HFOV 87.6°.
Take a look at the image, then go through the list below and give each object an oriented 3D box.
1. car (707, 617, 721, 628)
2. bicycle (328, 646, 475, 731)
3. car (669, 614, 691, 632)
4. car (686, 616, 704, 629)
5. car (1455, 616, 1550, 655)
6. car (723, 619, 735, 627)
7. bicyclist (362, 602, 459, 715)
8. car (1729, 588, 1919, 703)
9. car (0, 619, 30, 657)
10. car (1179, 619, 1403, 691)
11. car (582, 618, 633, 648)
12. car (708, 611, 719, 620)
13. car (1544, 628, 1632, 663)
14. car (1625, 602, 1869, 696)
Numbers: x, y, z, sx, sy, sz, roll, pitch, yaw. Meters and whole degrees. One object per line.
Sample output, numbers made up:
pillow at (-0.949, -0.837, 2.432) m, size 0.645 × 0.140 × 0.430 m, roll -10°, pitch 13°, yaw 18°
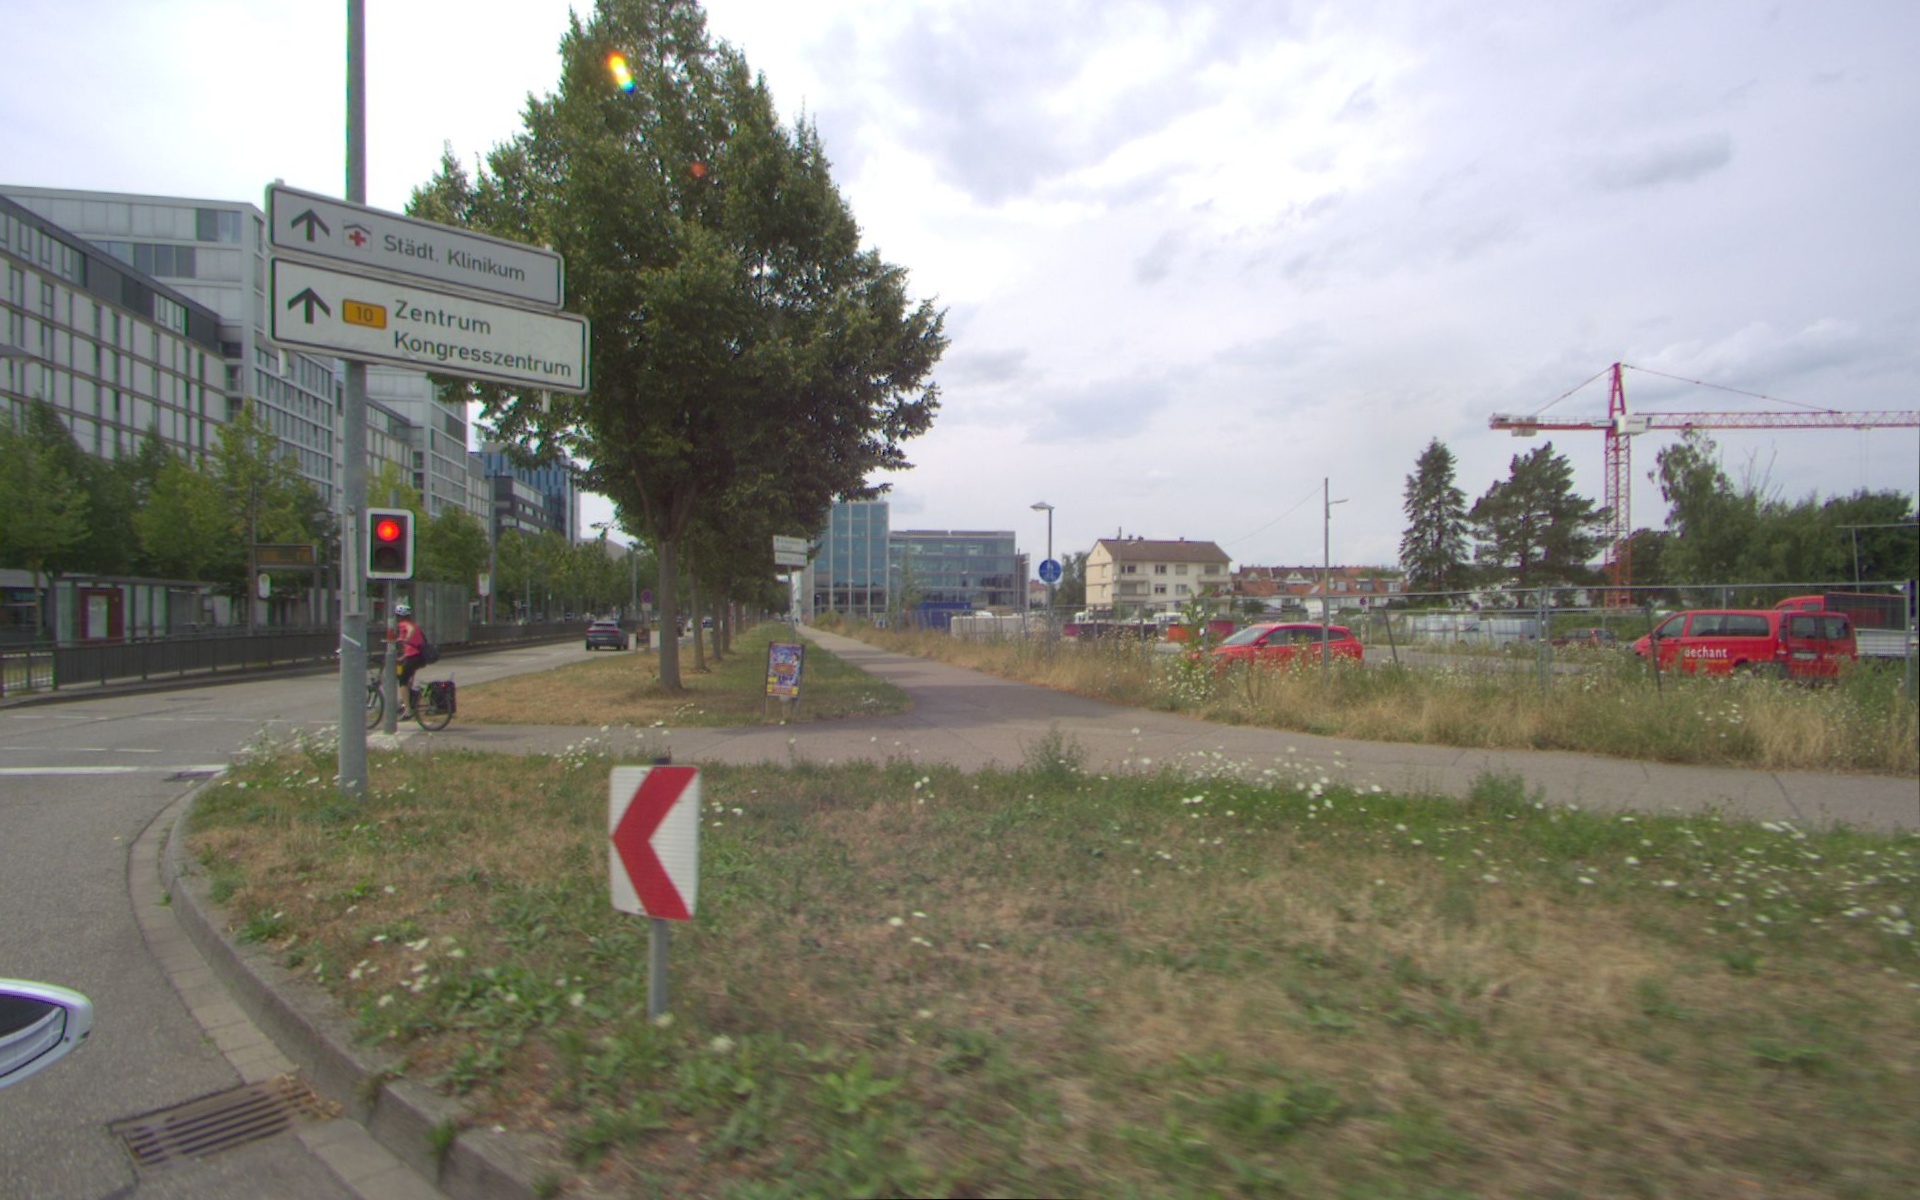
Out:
car at (-35.118, 3.251, 142.978) m, size 1.768 × 1.516 × 4.113 m, roll 1°, pitch -1°, yaw -13°
bicycle at (-8.452, 1.310, 15.162) m, size 2.005 × 1.183 × 0.790 m, roll 0°, pitch 0°, yaw 18°
car at (-25.976, 2.133, 92.915) m, size 1.709 × 1.538 × 4.143 m, roll 1°, pitch -1°, yaw -12°
car at (-30.826, 2.603, 116.483) m, size 1.797 × 1.481 × 4.256 m, roll 1°, pitch -1°, yaw -13°
car at (32.102, 2.069, 59.478) m, size 2.110 × 2.164 × 4.901 m, roll 0°, pitch -1°, yaw -17°
car at (-44.406, 4.398, 192.367) m, size 1.962 × 1.639 × 4.751 m, roll 0°, pitch -1°, yaw -9°
bicyclist at (-8.282, 0.858, 15.109) m, size 1.030 × 1.648 × 0.790 m, roll 0°, pitch 0°, yaw 18°
car at (21.526, 1.010, 23.364) m, size 2.273 × 2.443 × 6.544 m, roll 0°, pitch -1°, yaw 2°
car at (-38.099, 1.449, 38.246) m, size 1.814 × 1.477 × 3.999 m, roll 1°, pitch -1°, yaw -9°
car at (7.980, 1.278, 24.178) m, size 5.048 × 1.625 × 1.786 m, roll 0°, pitch -1°, yaw -17°
car at (-19.281, 1.792, 54.947) m, size 2.026 × 1.571 × 4.471 m, roll 1°, pitch -1°, yaw -12°
car at (-47.655, 2.960, 193.819) m, size 1.963 × 1.639 × 4.749 m, roll 0°, pitch -1°, yaw -11°
car at (33.834, 2.409, 54.073) m, size 1.822 × 1.771 × 4.012 m, roll 0°, pitch -1°, yaw -9°
car at (18.612, 1.116, 24.056) m, size 1.899 × 1.935 × 4.989 m, roll 3°, pitch -1°, yaw 0°
